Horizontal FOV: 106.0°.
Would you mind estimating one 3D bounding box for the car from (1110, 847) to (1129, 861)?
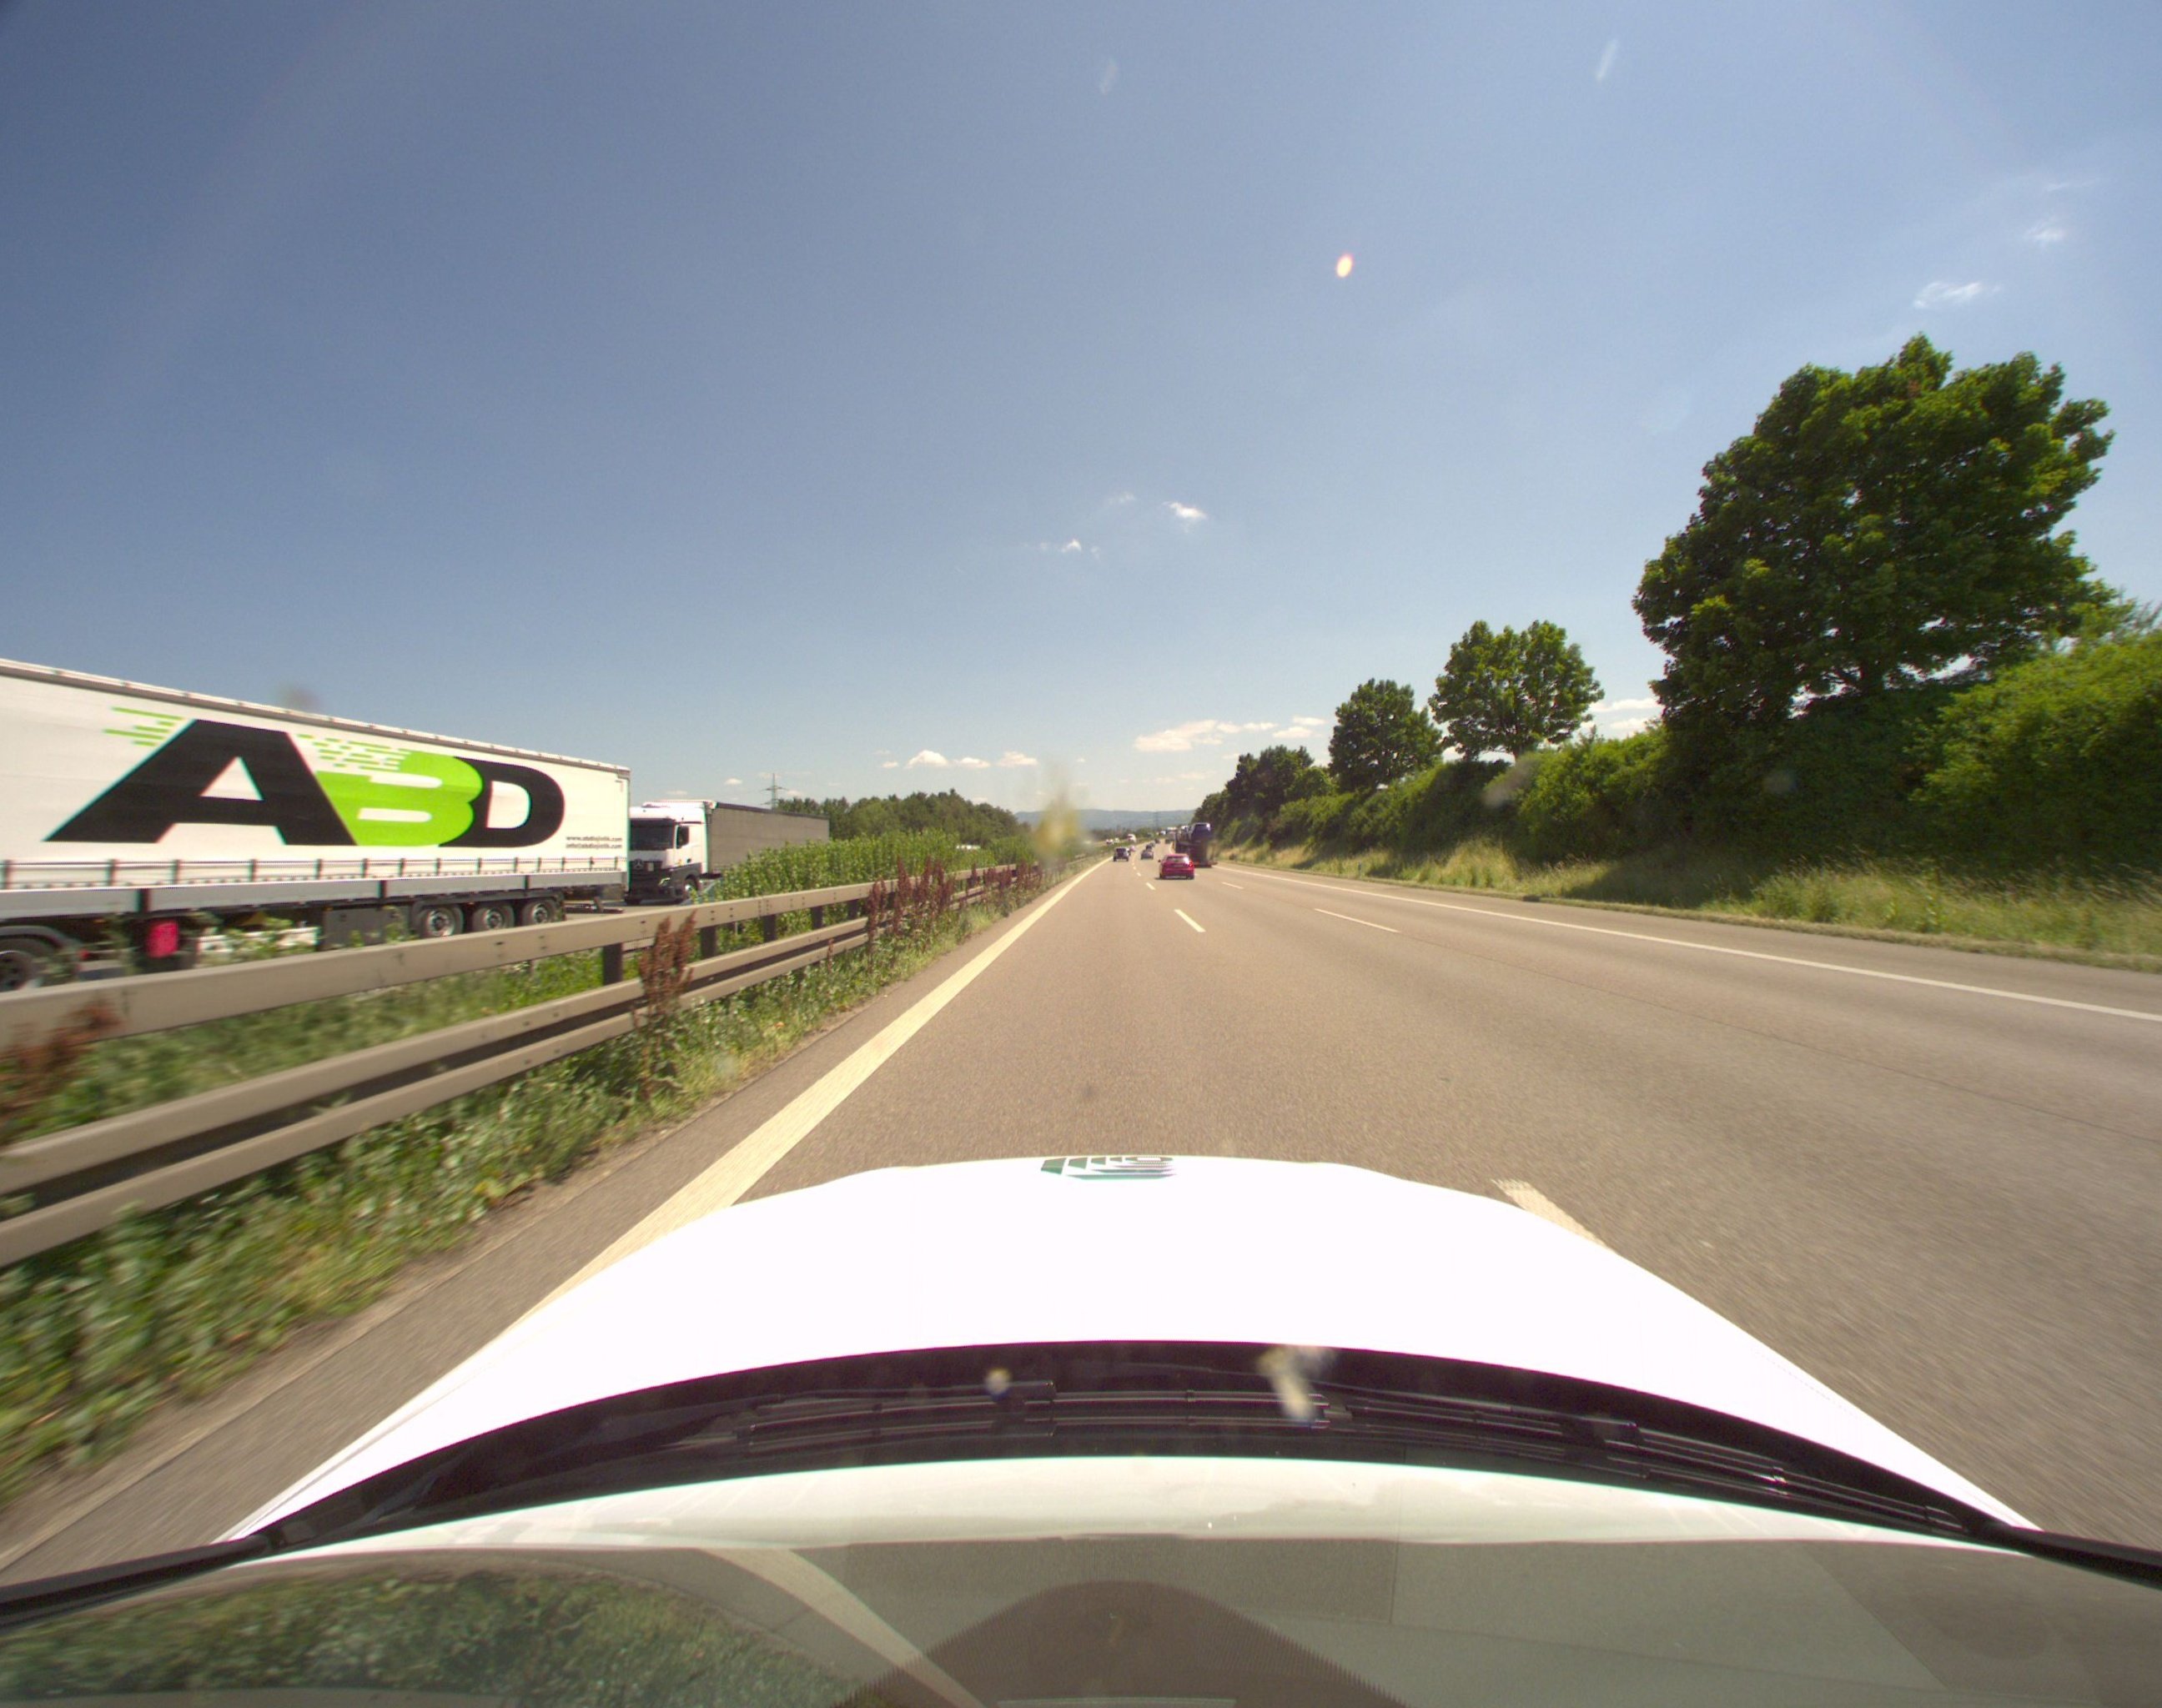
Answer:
[{"bbox_3d":[4.992,-0.023,106.238,2.078,1.829,4.750,0,0,-2],"label":"car"}]

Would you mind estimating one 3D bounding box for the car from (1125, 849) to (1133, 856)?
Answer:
[{"bbox_3d":[8.829,-0.284,149.944,1.448,1.267,3.342,0,0,5],"label":"car"}]

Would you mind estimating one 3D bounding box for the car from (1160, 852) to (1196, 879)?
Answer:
[{"bbox_3d":[5.391,0.619,45.727,1.679,1.379,3.951,0,0,2],"label":"car"}]

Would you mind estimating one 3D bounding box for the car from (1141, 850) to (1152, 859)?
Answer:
[{"bbox_3d":[9.476,0.009,118.715,1.447,1.267,3.540,0,0,2],"label":"car"}]

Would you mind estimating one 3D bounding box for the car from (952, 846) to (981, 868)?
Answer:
[{"bbox_3d":[-9.542,0.222,67.995,1.622,1.828,3.773,0,0,3],"label":"car"}]

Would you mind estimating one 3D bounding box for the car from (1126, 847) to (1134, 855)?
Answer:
[{"bbox_3d":[11.972,-0.803,197.619,1.689,2.013,3.830,0,0,7],"label":"car"}]

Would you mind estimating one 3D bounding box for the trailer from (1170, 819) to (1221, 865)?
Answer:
[{"bbox_3d":[10.847,-1.097,78.885,2.845,3.993,15.396,0,0,0],"label":"trailer"}]

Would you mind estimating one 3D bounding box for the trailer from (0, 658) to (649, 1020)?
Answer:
[{"bbox_3d":[-13.442,-0.211,14.656,3.179,4.076,14.054,0,0,3],"label":"trailer"}]

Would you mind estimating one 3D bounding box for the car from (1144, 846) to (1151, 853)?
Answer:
[{"bbox_3d":[18.196,-1.199,222.449,1.627,1.704,3.408,0,0,7],"label":"car"}]

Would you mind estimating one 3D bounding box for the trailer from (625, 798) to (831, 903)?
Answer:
[{"bbox_3d":[-15.930,-0.205,38.777,2.956,4.076,14.054,0,0,3],"label":"trailer"}]

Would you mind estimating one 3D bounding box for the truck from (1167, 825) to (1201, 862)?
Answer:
[{"bbox_3d":[10.915,-1.103,86.667,2.745,3.852,6.643,0,0,0],"label":"truck"}]

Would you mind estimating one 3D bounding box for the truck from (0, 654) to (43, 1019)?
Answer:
[{"bbox_3d":[-13.846,-0.173,6.947,3.163,4.109,5.231,0,0,3],"label":"truck"}]

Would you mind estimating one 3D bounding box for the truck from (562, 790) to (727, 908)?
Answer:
[{"bbox_3d":[-16.403,-0.195,31.110,2.998,4.109,5.626,0,0,3],"label":"truck"}]
